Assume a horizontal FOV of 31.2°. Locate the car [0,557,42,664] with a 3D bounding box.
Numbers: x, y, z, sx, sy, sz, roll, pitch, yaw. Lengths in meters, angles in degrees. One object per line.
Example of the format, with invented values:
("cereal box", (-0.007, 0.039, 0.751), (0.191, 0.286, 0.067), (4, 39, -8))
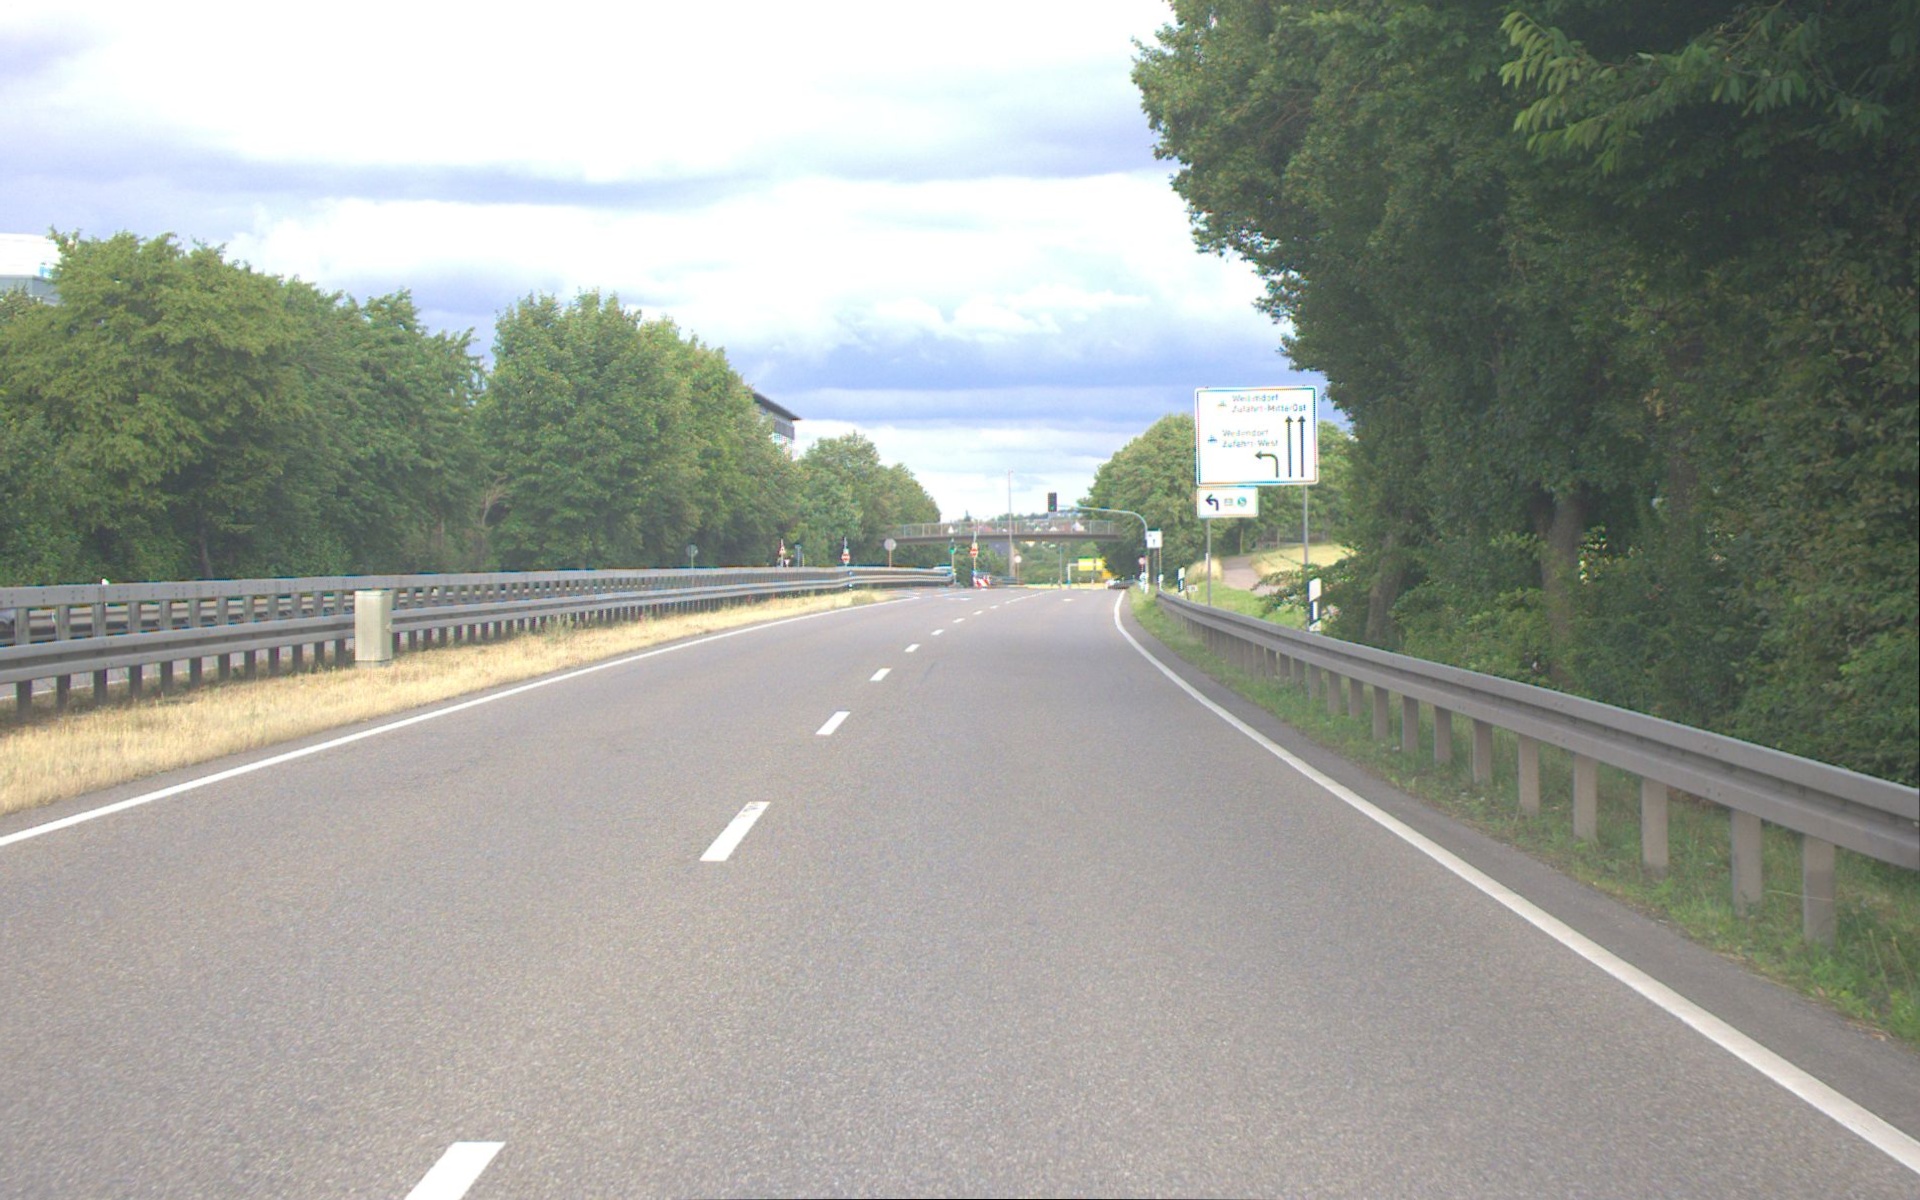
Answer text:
("car", (-14.787, 0.182, 49.522), (1.824, 1.539, 4.587), (-2, 1, 0))
